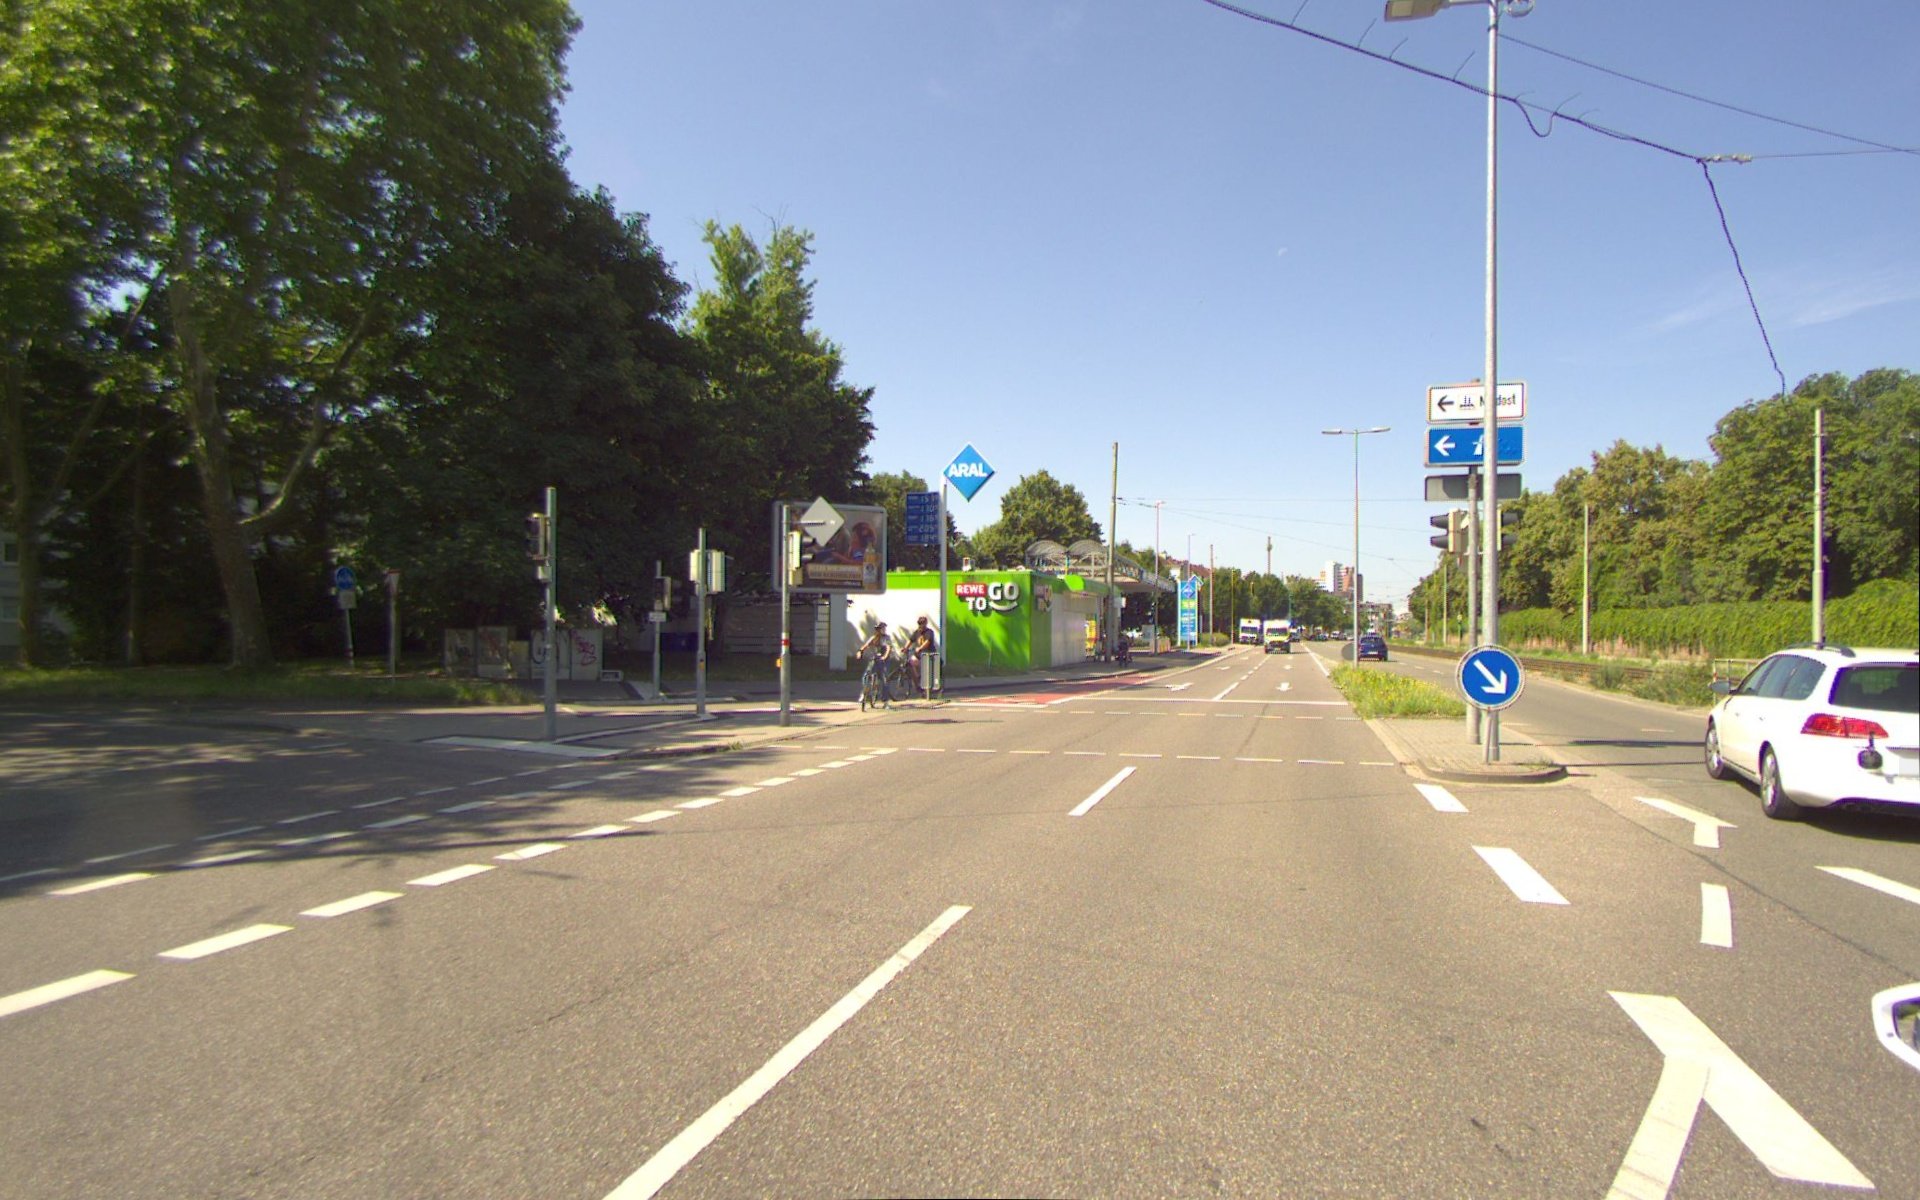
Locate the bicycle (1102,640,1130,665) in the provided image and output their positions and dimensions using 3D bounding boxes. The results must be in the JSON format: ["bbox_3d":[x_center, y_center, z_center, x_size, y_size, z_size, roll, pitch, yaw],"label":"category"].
[{"bbox_3d":[7.338,2.452,47.183,0.811,1.109,2.773,1,-1,18],"label":"bicycle"}]

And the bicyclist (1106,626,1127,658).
[{"bbox_3d":[7.352,1.975,47.198,0.833,1.454,0.833,1,-2,17],"label":"bicyclist"}]

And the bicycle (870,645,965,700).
[{"bbox_3d":[-0.966,1.639,23.254,0.927,1.190,2.198,-1,-2,43],"label":"bicycle"}]

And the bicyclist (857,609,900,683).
[{"bbox_3d":[-1.635,0.914,20.208,0.695,1.439,0.740,1,0,9],"label":"bicyclist"}]

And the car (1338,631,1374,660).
[{"bbox_3d":[23.299,2.648,59.203,1.770,1.527,4.001,1,-1,19],"label":"car"}]

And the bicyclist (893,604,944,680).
[{"bbox_3d":[-0.952,0.940,23.079,0.824,1.696,0.824,1,0,35],"label":"bicyclist"}]

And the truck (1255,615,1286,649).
[{"bbox_3d":[25.821,2.676,83.350,2.291,2.703,7.362,-1,-2,18],"label":"truck"}]

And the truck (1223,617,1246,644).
[{"bbox_3d":[38.503,4.337,140.522,2.622,3.576,8.593,2,-1,18],"label":"truck"}]

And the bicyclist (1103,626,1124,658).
[{"bbox_3d":[7.091,1.944,46.413,0.833,1.455,0.833,1,0,18],"label":"bicyclist"}]

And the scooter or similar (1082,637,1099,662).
[{"bbox_3d":[6.624,2.520,51.119,0.434,1.253,1.344,-1,-2,27],"label":"scooter or similar"}]

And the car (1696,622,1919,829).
[{"bbox_3d":[8.058,1.002,9.139,1.666,1.470,4.451,1,-2,29],"label":"car"}]

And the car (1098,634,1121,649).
[{"bbox_3d":[16.465,4.552,110.564,1.769,1.591,4.519,0,-1,17],"label":"car"}]

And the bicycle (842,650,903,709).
[{"bbox_3d":[-1.706,1.554,20.026,0.738,1.072,2.077,0,-2,9],"label":"bicycle"}]
